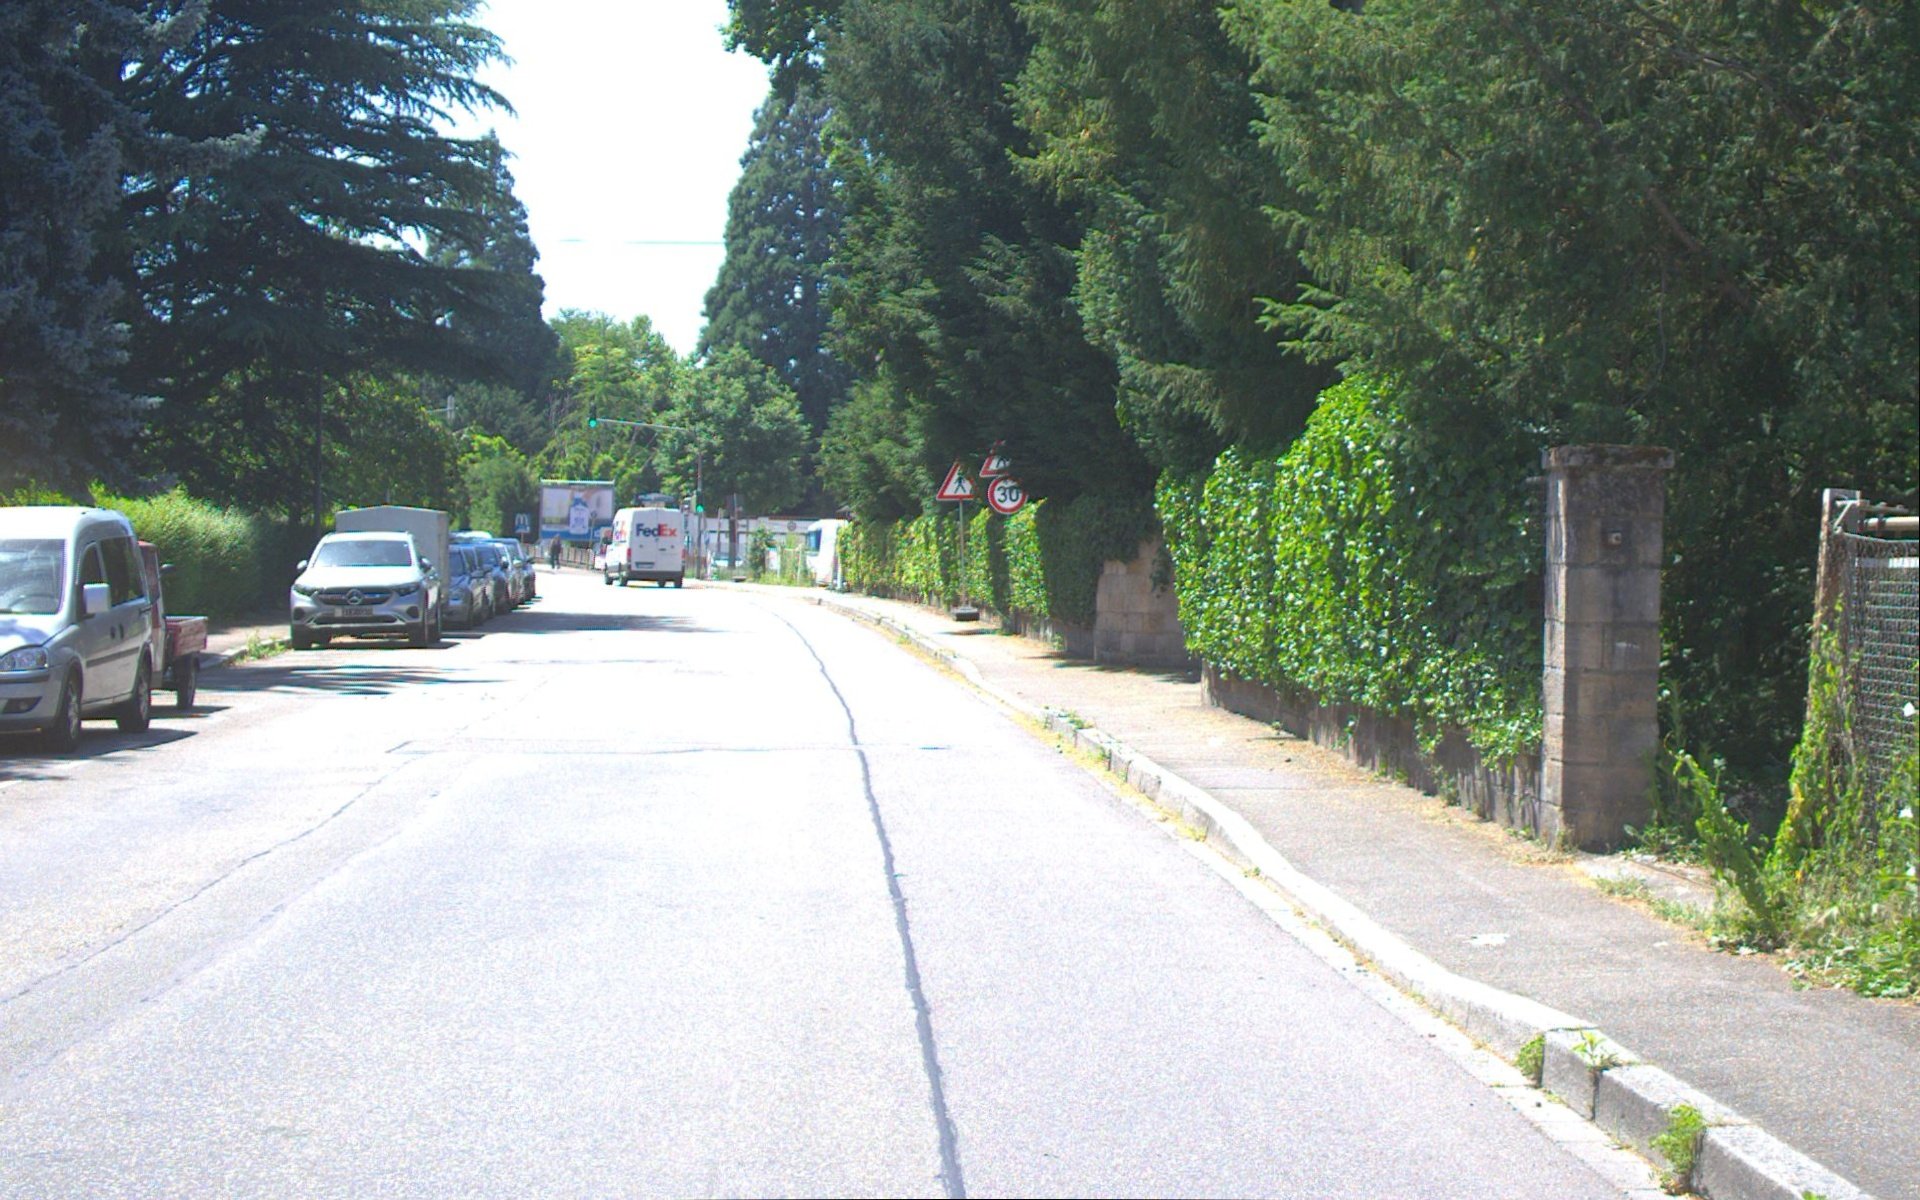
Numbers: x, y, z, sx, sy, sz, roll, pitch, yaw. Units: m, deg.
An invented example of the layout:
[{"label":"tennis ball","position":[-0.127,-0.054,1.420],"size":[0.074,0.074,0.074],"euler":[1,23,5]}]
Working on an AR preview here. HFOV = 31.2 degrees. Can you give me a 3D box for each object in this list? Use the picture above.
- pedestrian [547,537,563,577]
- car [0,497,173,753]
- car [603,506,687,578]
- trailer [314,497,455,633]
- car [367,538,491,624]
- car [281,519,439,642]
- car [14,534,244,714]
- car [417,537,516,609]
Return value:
[{"label":"pedestrian","position":[-18.239,-1.930,154.839],"size":[0.591,1.745,0.657],"euler":[3,0,-1]},{"label":"car","position":[-7.131,0.133,25.638],"size":[1.647,1.746,4.355],"euler":[0,1,-2]},{"label":"car","position":[-10.345,-1.905,112.681],"size":[2.143,2.307,4.854],"euler":[0,1,-13]},{"label":"trailer","position":[-9.012,-0.560,54.093],"size":[1.847,2.033,4.164],"euler":[-1,1,-5]},{"label":"car","position":[-9.229,-0.355,59.998],"size":[1.709,1.434,4.323],"euler":[-1,1,-3]},{"label":"car","position":[-8.616,-0.305,49.666],"size":[1.850,1.665,4.713],"euler":[-1,1,-5]},{"label":"car","position":[-7.346,0.175,30.576],"size":[1.411,1.498,2.840],"euler":[-1,1,-2]},{"label":"car","position":[-10.211,-0.588,71.302],"size":[1.688,1.439,4.136],"euler":[0,1,-3]}]
